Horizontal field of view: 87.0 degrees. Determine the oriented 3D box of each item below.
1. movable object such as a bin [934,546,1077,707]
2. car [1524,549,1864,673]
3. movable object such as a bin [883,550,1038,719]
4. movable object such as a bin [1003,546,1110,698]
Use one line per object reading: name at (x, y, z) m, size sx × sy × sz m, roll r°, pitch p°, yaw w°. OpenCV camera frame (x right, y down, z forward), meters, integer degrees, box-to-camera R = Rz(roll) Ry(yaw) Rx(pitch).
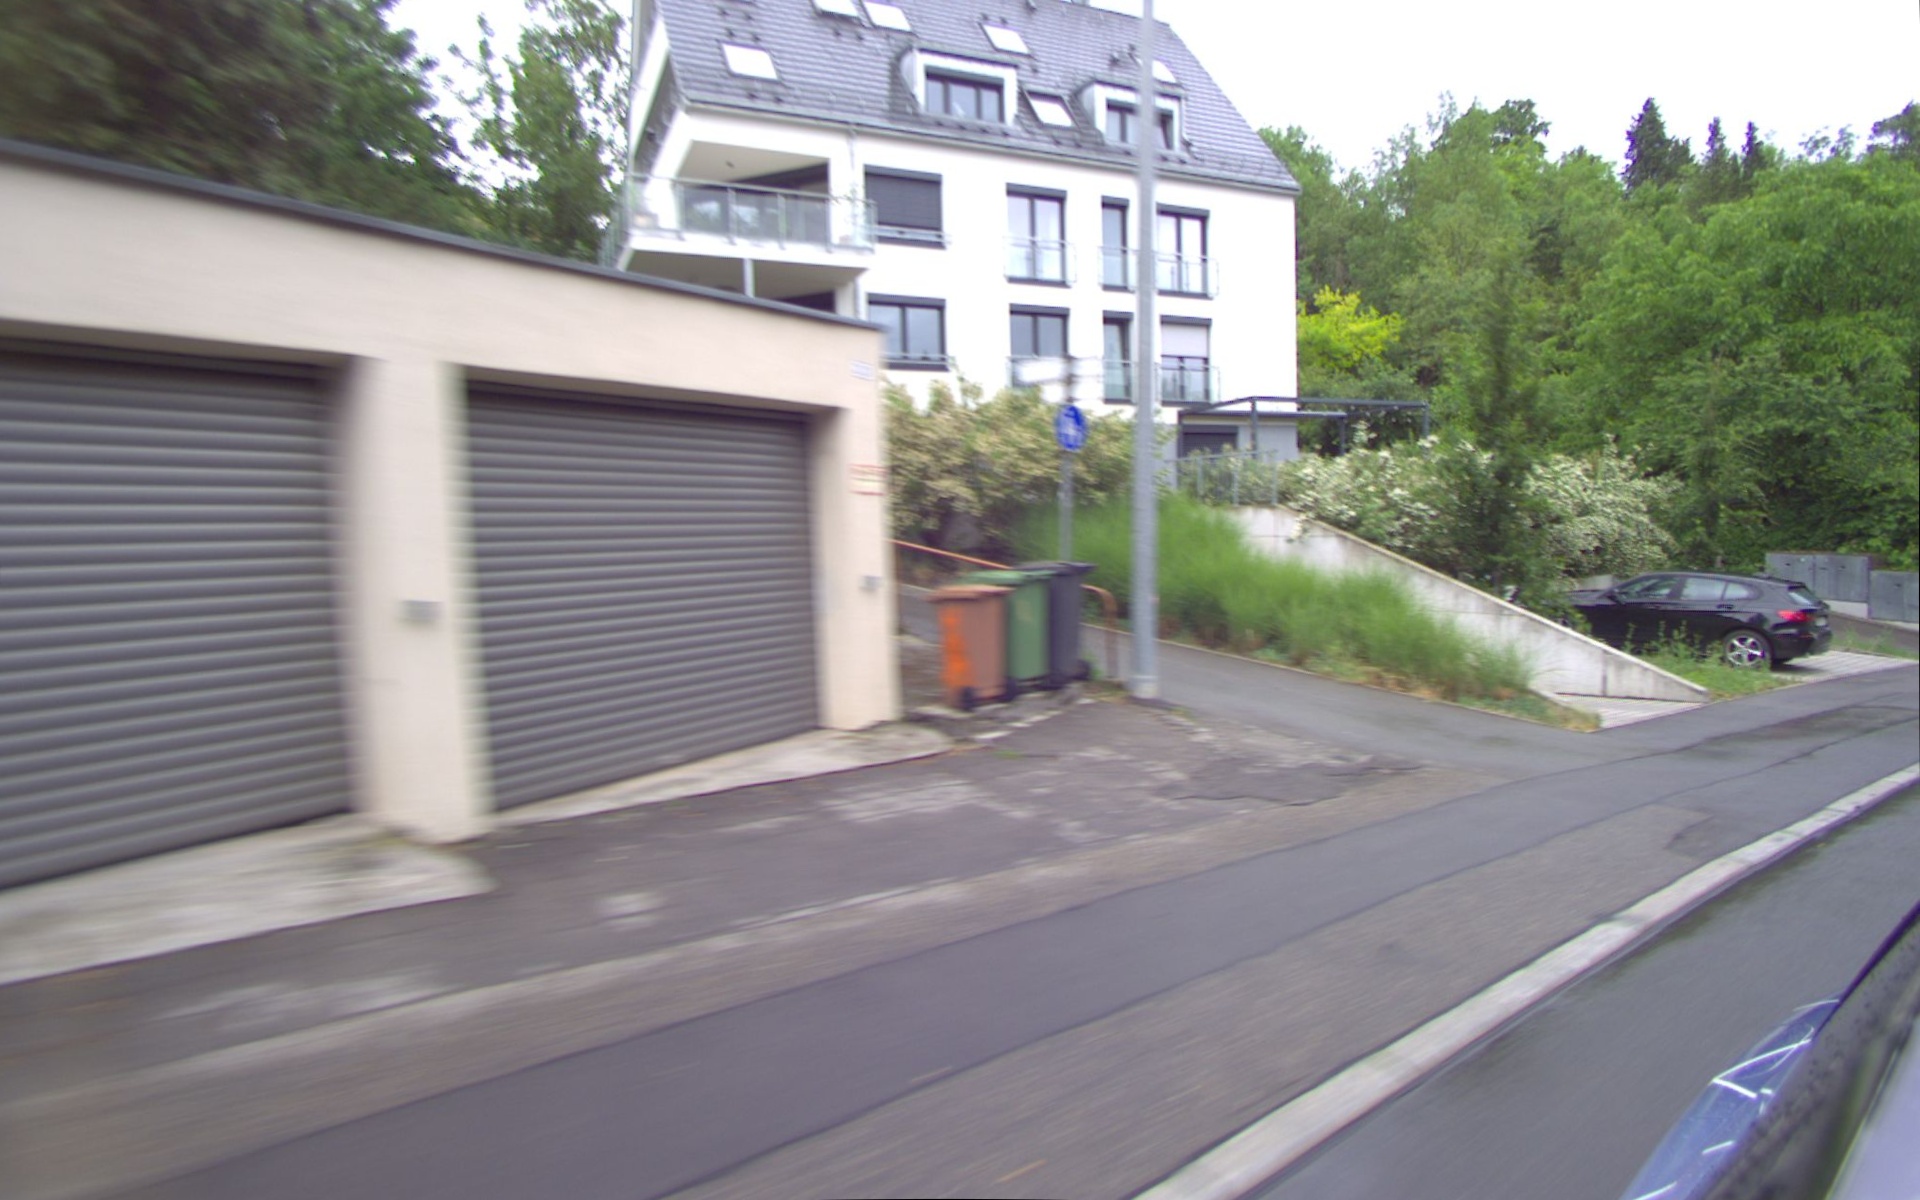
movable object such as a bin at (0.373, 0.179, 8.244) m, size 0.857 × 1.200 × 0.777 m, roll 4°, pitch 4°, yaw 35°
car at (12.000, 0.059, 16.821) m, size 1.709 × 1.525 × 4.184 m, roll -2°, pitch 7°, yaw -37°
movable object such as a bin at (0.009, 0.220, 7.690) m, size 0.857 × 1.156 × 0.789 m, roll 4°, pitch 4°, yaw 35°
movable object such as a bin at (0.836, 0.163, 8.762) m, size 0.700 × 1.238 × 0.574 m, roll 4°, pitch 4°, yaw 35°
